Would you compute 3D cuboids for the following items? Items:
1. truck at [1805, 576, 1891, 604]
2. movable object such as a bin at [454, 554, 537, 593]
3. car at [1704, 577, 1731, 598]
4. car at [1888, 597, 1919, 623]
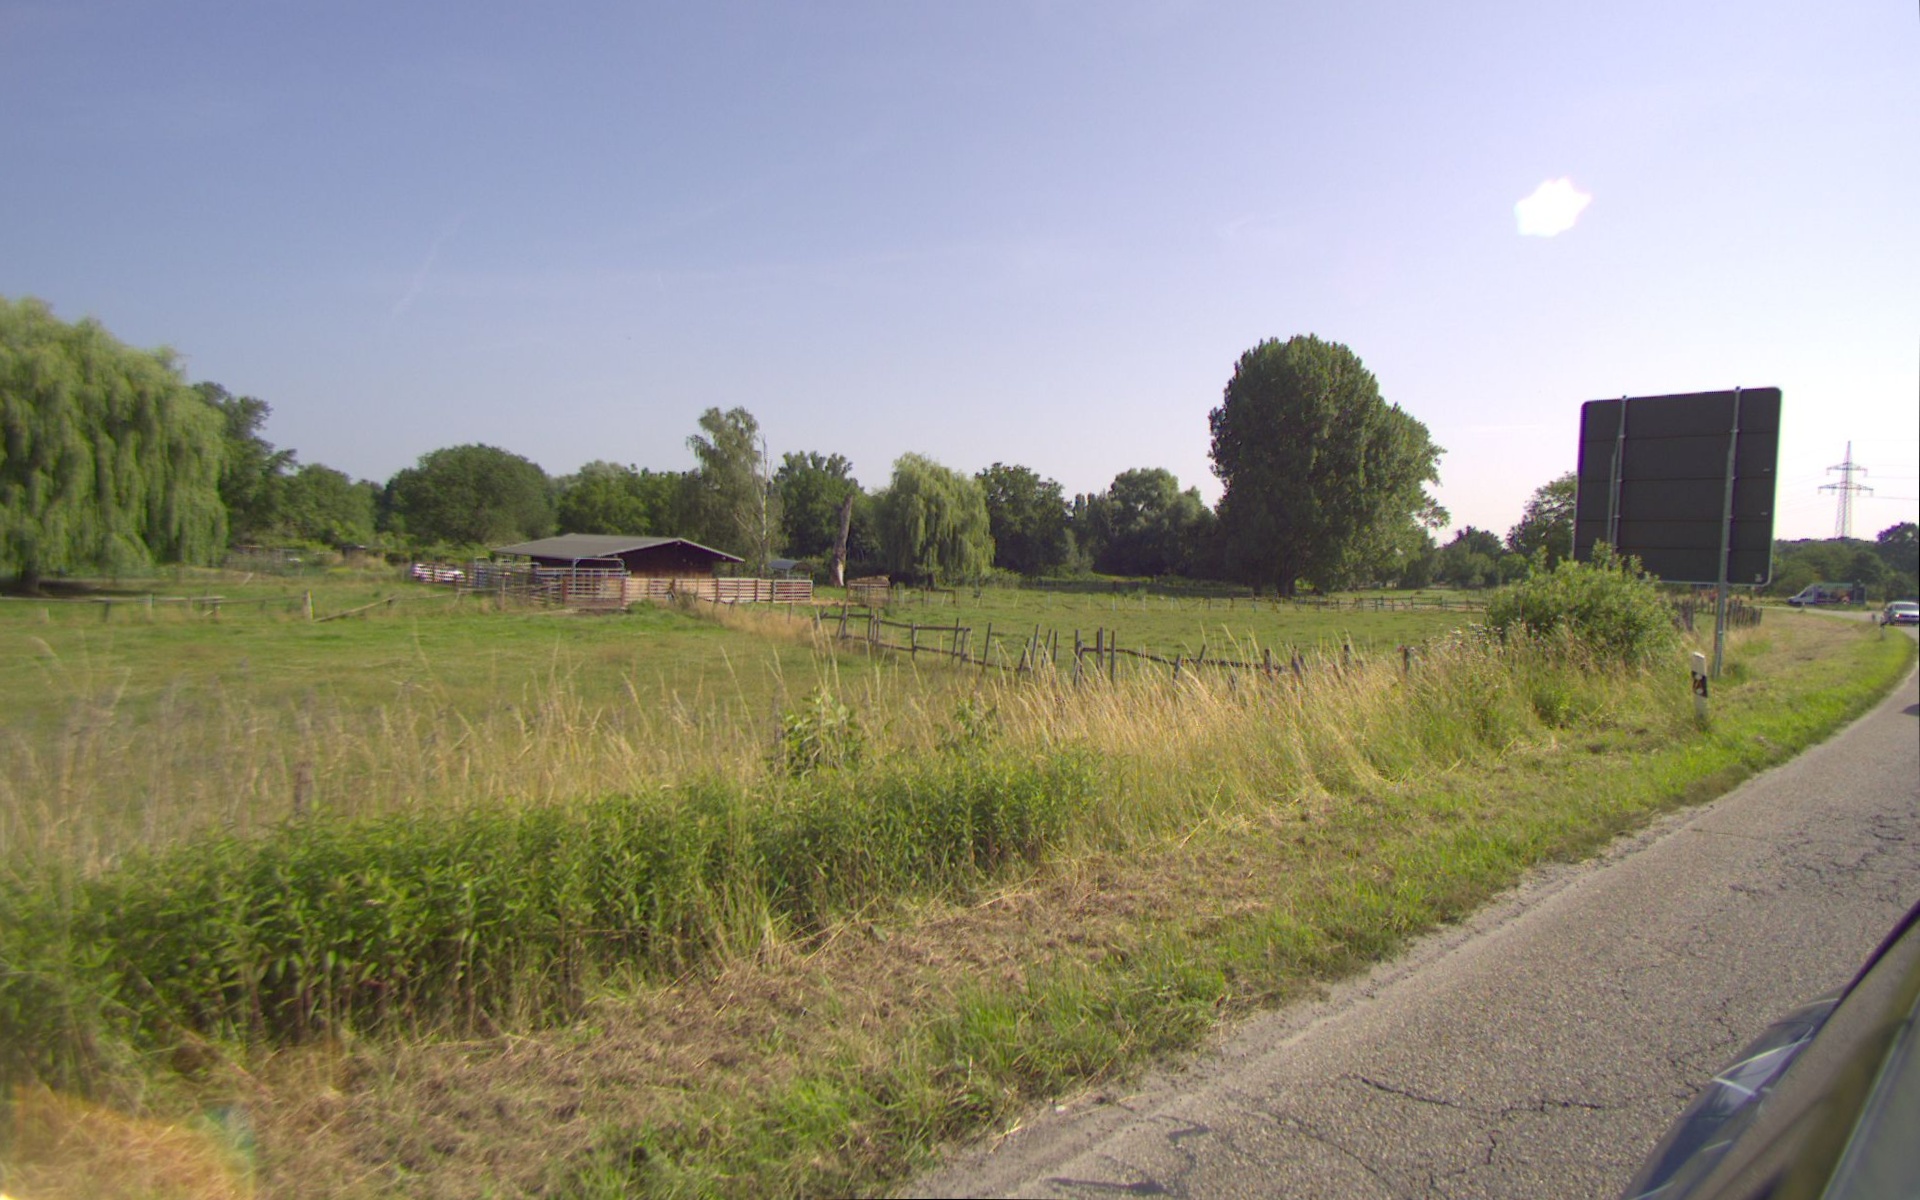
[{"bbox_3d":[102.839,-1.217,117.364,7.333,3.083,2.546,2,2,41],"label":"truck"},{"bbox_3d":[-27.574,-1.527,60.151,4.096,2.221,1.994,0,0,-45],"label":"movable object such as a bin"},{"bbox_3d":[104.520,-1.723,139.639,2.111,2.729,5.218,1,1,27],"label":"car"},{"bbox_3d":[63.275,0.656,67.094,1.987,1.599,3.860,2,2,35],"label":"car"}]
